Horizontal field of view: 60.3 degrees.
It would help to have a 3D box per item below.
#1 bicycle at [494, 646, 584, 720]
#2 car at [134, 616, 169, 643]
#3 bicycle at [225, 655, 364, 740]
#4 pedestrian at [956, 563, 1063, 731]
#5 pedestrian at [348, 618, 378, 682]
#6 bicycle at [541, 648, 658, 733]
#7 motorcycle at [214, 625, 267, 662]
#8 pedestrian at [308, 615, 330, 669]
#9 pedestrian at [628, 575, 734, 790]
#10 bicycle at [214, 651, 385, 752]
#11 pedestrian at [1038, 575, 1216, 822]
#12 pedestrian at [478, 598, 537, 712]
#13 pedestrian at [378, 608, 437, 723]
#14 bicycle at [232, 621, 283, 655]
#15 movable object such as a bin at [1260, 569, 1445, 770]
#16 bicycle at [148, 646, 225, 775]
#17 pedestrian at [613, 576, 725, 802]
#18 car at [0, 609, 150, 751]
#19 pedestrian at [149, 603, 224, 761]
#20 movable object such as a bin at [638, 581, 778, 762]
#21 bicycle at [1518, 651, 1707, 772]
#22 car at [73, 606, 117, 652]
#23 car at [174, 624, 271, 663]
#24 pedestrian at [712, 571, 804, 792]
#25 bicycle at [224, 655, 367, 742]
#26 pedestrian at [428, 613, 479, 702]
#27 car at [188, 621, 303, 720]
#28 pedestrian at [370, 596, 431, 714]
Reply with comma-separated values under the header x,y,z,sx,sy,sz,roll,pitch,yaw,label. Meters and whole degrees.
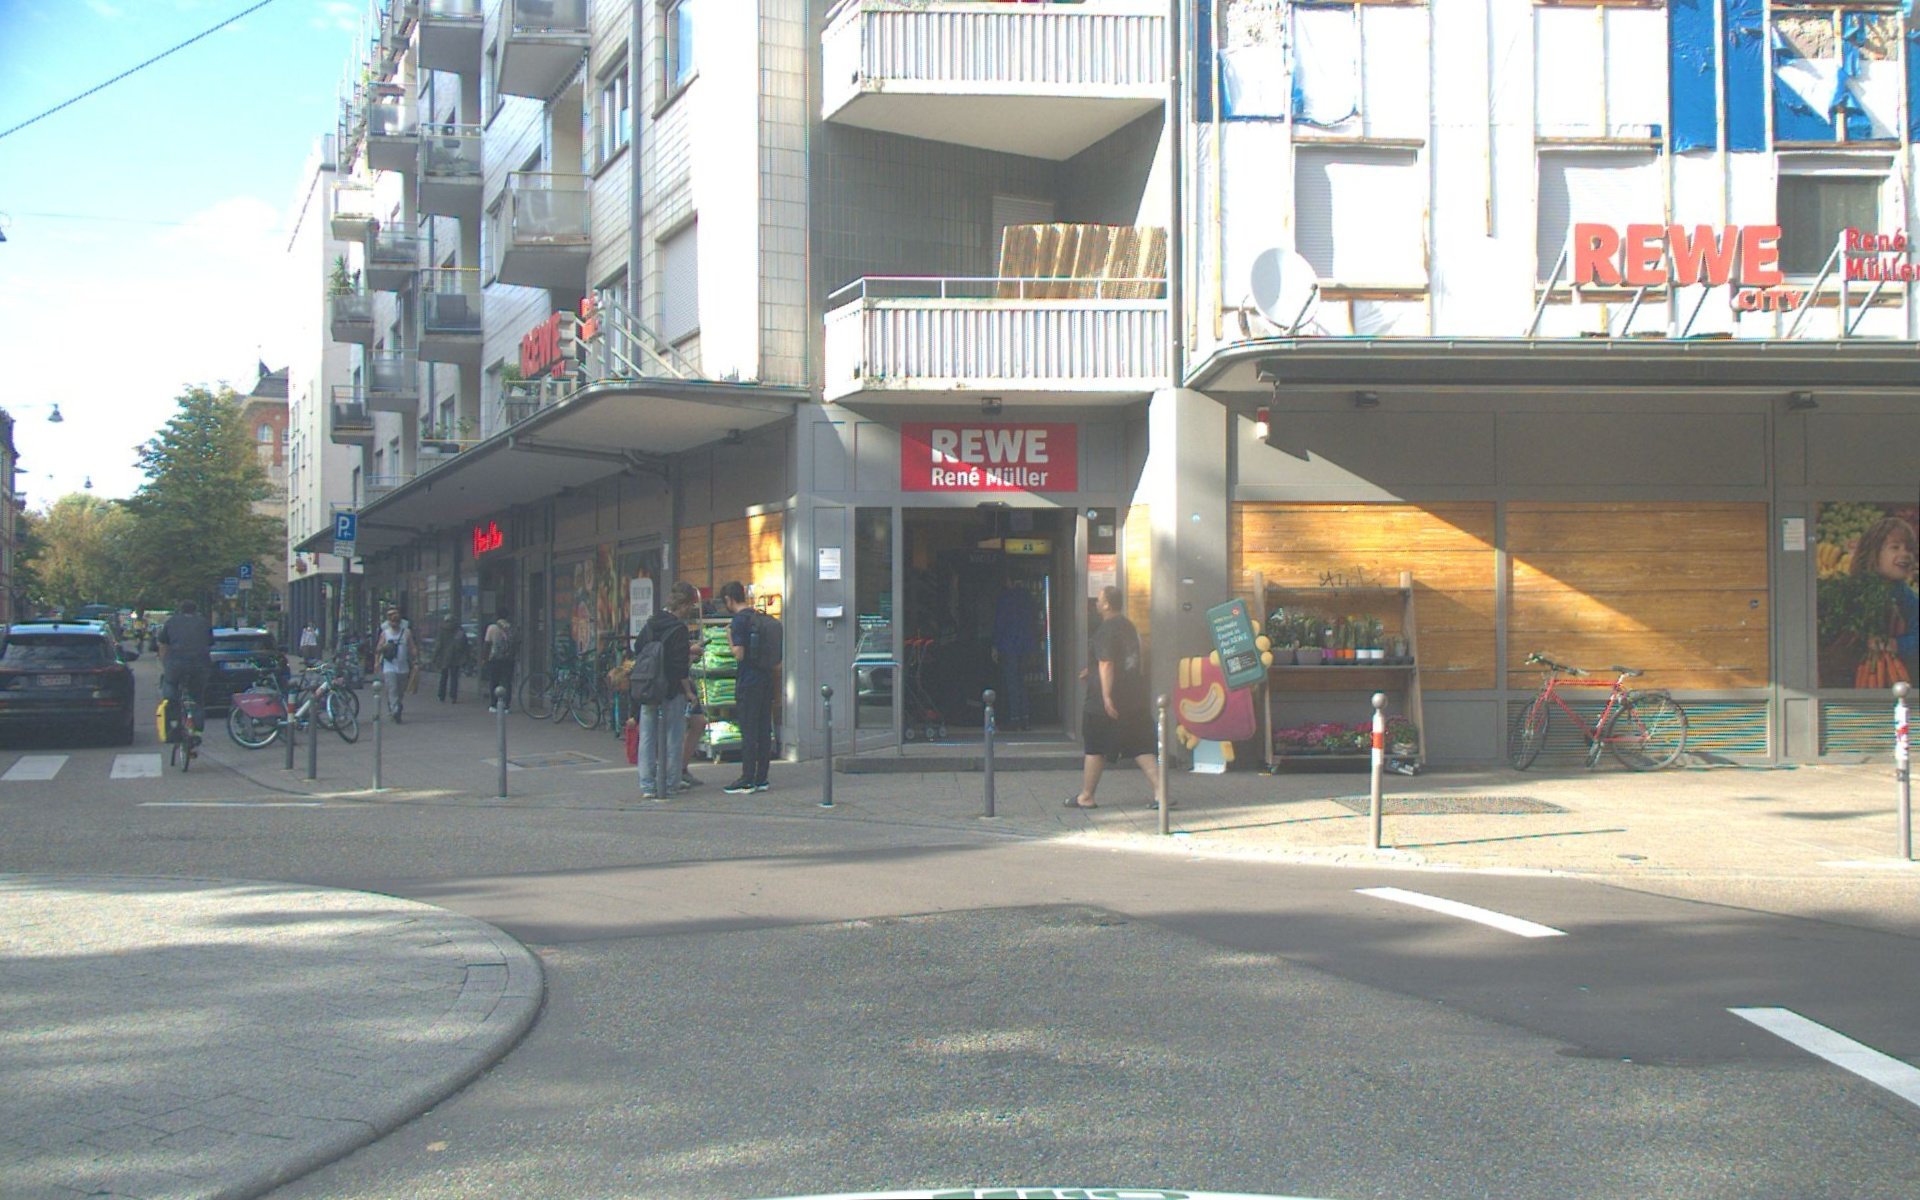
x,y,z,sx,sy,sz,roll,pitch,yaw,label
-6.325,1.223,24.788,0.735,1.033,1.762,-2,0,-34,bicycle
-50.505,1.825,103.367,1.907,1.667,3.966,2,-1,-26,car
-9.627,1.387,23.955,1.775,1.089,0.579,-2,1,-37,bicycle
0.538,0.505,18.133,0.760,1.784,0.915,1,-1,-45,pedestrian
-15.540,1.286,43.024,0.636,1.616,0.774,-2,0,-25,pedestrian
-4.748,1.183,21.733,1.704,1.061,0.673,-3,-2,44,bicycle
-31.961,1.930,73.496,2.121,1.557,0.681,-2,1,-23,motorcycle
-21.137,1.383,54.536,0.604,1.756,1.117,0,0,-26,pedestrian
-2.455,0.711,14.609,0.697,1.828,0.633,-2,1,6,pedestrian
-8.538,1.285,21.389,1.868,1.145,0.896,-3,1,-36,bicycle
1.278,0.725,12.741,0.843,1.777,1.036,-2,1,-36,pedestrian
-7.293,0.873,26.643,0.706,1.777,0.809,-2,0,-29,pedestrian
-8.474,0.998,25.369,0.791,1.700,1.015,0,-2,-22,pedestrian
-26.564,1.419,62.563,1.743,1.182,0.645,-2,1,-25,bicycle
3.566,0.613,15.102,1.514,1.785,0.690,0,1,-5,movable object such as a bin
-8.467,1.170,18.101,0.709,1.296,1.868,1,-1,-25,bicycle
-2.449,0.735,13.961,0.617,1.828,0.715,-2,1,14,pedestrian
-12.303,1.081,22.860,1.941,1.771,4.007,1,-2,-26,car
-8.490,0.882,18.164,0.709,1.679,0.922,1,-1,-26,pedestrian
-2.709,0.718,17.511,0.770,1.775,2.402,0,-1,-26,movable object such as a bin
5.904,0.999,15.020,1.498,1.051,0.583,0,1,8,bicycle
-40.724,1.362,77.942,1.761,2.055,3.853,2,-1,-27,car
-33.497,1.973,75.172,3.733,1.573,1.708,-2,-1,-37,car
-1.753,0.679,14.297,0.642,1.828,0.656,-3,1,-14,pedestrian
-9.350,1.367,23.303,1.775,1.089,0.561,-2,1,-37,bicycle
-9.394,1.058,30.659,0.813,1.616,0.774,0,-1,-25,pedestrian
-13.383,1.246,30.882,1.771,1.633,3.891,-2,0,-26,car
-9.215,0.897,27.246,0.871,1.866,1.041,-2,0,-19,pedestrian
